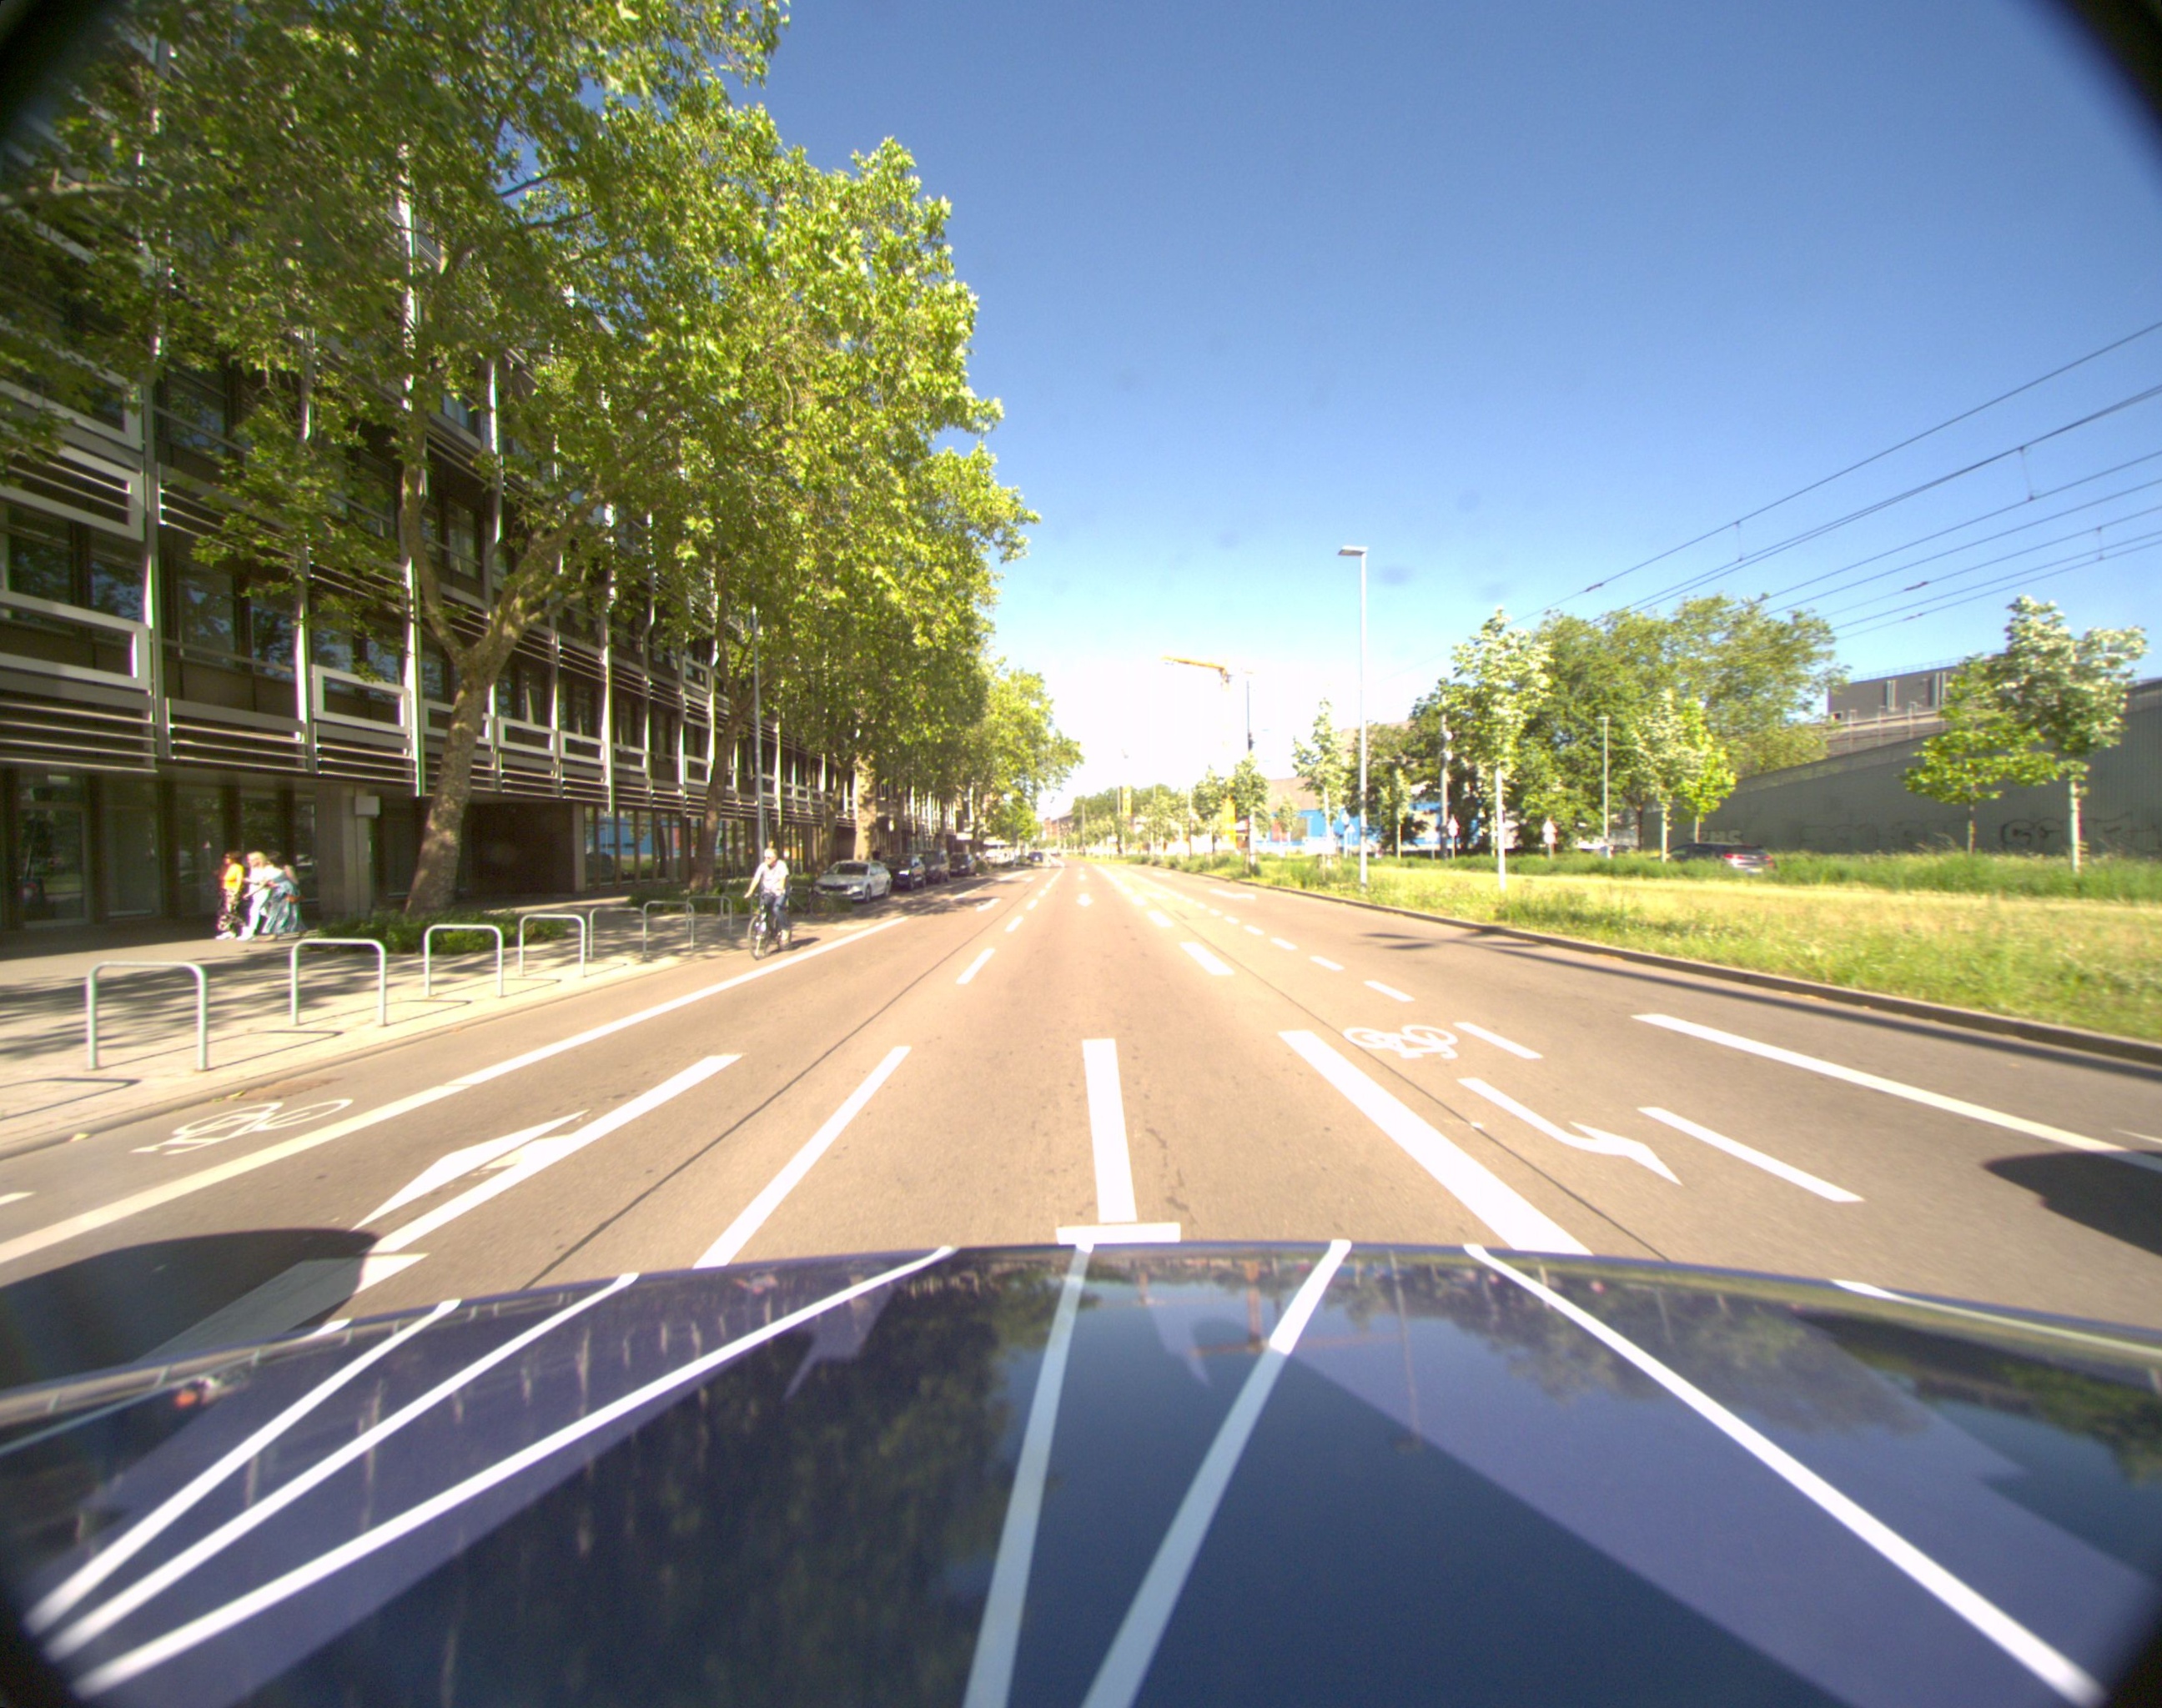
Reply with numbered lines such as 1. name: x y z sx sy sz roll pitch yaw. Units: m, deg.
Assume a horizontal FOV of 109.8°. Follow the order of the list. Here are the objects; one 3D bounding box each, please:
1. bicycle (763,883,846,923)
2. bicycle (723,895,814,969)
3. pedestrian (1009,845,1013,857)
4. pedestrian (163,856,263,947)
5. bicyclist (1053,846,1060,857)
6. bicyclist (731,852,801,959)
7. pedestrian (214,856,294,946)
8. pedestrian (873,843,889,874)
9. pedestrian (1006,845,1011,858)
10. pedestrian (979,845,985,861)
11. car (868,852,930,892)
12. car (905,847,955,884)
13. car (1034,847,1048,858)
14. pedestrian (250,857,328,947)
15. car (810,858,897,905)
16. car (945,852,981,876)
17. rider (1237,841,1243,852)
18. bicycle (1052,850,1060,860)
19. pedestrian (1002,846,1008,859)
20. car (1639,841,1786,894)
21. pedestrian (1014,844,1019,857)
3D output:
1. bicycle: -7.003 1.235 19.292 1.849 0.955 0.711 1 1 -5
2. bicycle: -5.181 1.267 12.729 0.711 0.987 1.923 -3 1 -1
3. pedestrian: -10.563 -0.503 114.465 0.591 1.830 0.569 -1 1 -1
4. pedestrian: -15.928 0.852 13.971 0.668 1.591 1.009 1 1 1
5. bicyclist: -3.014 -0.276 93.430 0.830 1.380 0.903 -1 1 0
6. bicyclist: -5.212 0.829 12.628 0.711 1.678 0.852 -3 1 -1
7. pedestrian: -15.155 0.842 13.941 0.668 1.591 0.728 1 1 -1
8. pedestrian: -12.978 0.289 49.333 0.741 2.002 0.626 -1 1 7
9. pedestrian: -10.117 -0.346 106.548 0.591 1.830 0.569 -1 1 -1
10. pedestrian: -11.489 -0.119 88.019 0.591 1.830 0.697 -1 1 -1
11. car: -8.061 0.752 34.107 1.752 1.624 4.336 0 1 0
12. car: -7.848 0.547 39.871 1.752 1.811 4.336 0 1 0
13. car: -5.982 -0.173 114.300 1.999 1.598 3.895 -1 1 -2
14. pedestrian: -14.463 0.854 13.887 0.668 1.591 0.728 1 1 1
15. car: -8.086 0.936 27.428 1.752 1.481 4.559 0 1 0
16. car: -7.944 0.641 51.280 1.752 1.545 4.336 0 1 0
17. rider: 21.906 -1.047 104.579 0.724 1.514 0.631 -2 1 -3
18. bicycle: -3.015 0.107 93.434 0.845 1.123 2.553 -1 1 0
19. pedestrian: -10.222 -0.218 102.336 0.591 1.830 0.696 -1 1 -1
20. car: 21.981 0.431 26.679 1.830 1.679 4.091 -1 1 2
21. pedestrian: -8.833 -0.454 103.502 0.591 1.830 0.569 -1 1 -1
